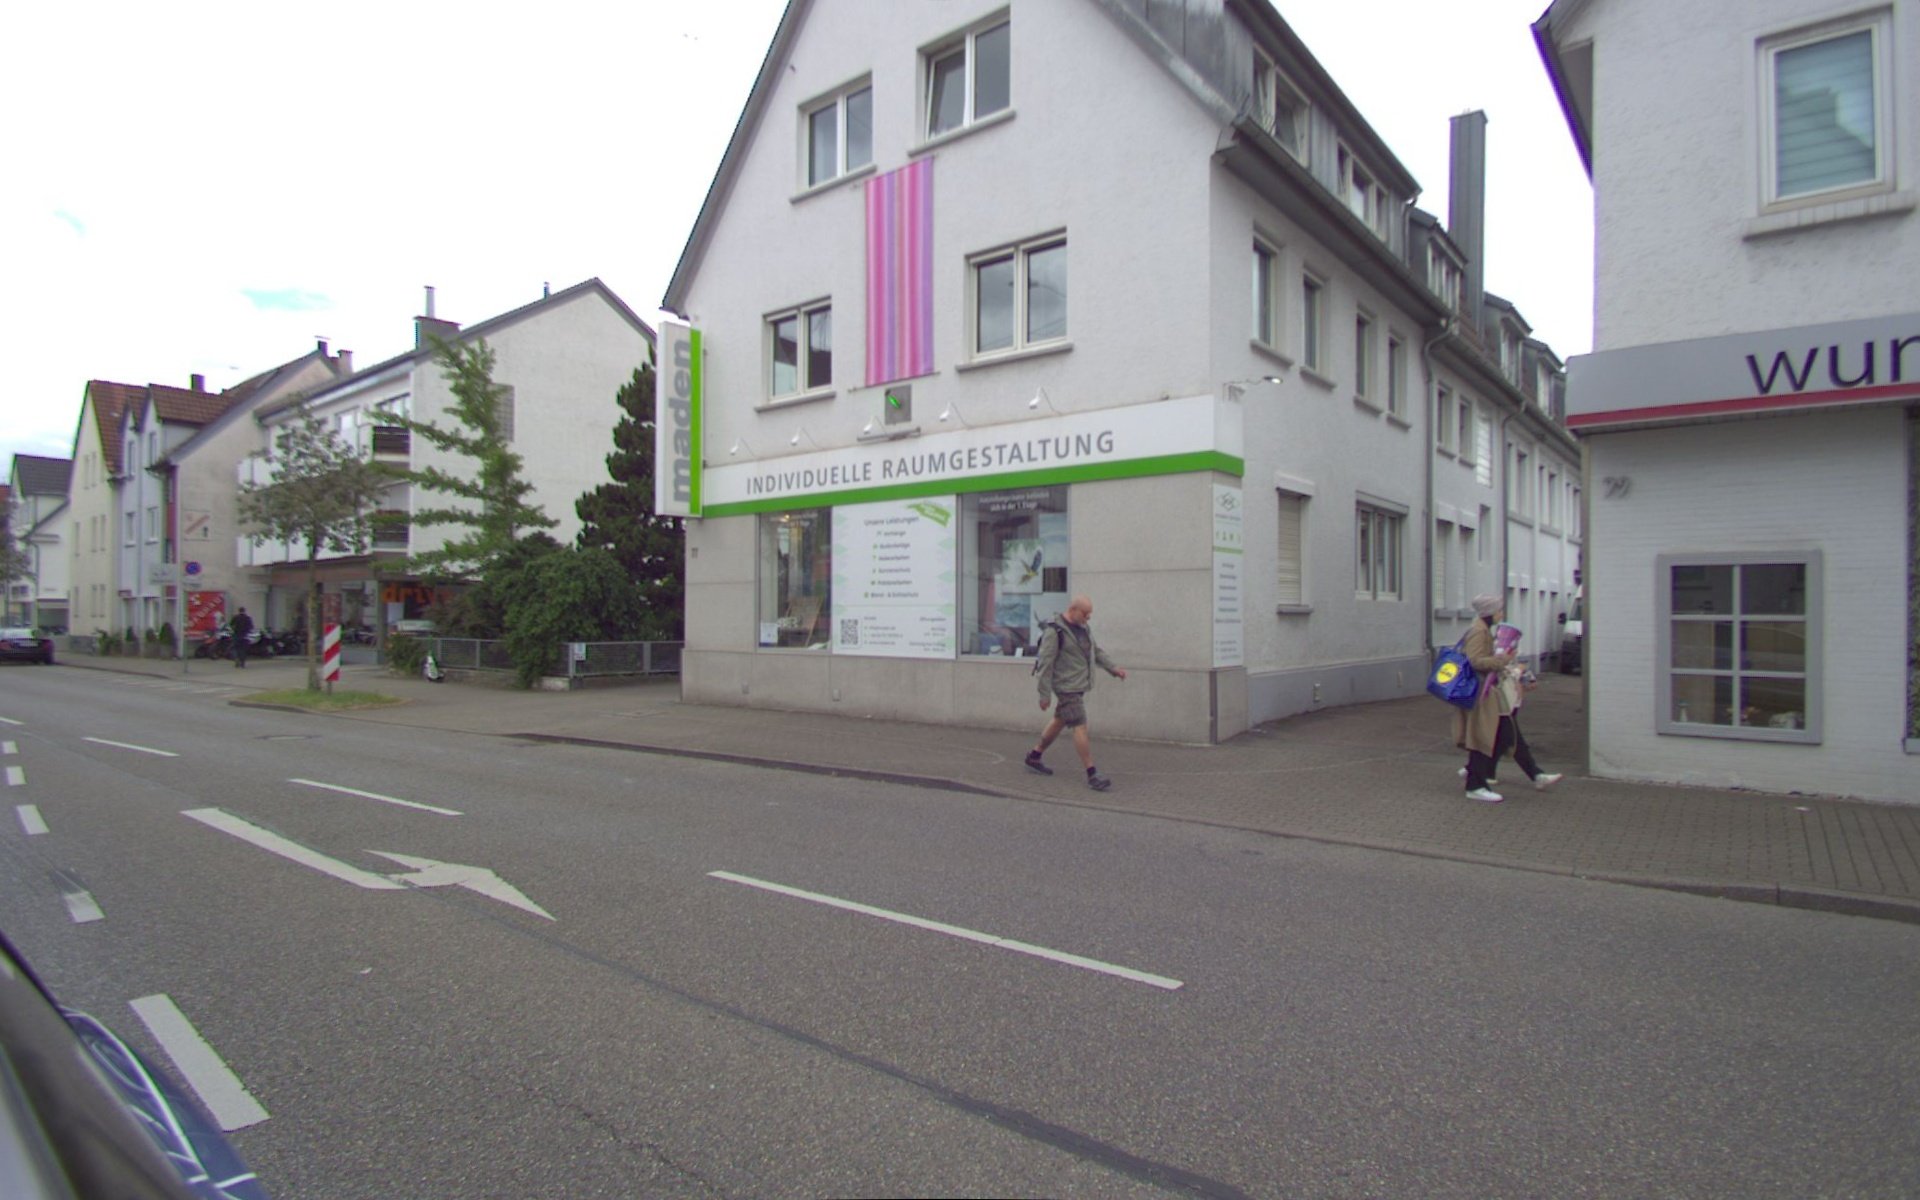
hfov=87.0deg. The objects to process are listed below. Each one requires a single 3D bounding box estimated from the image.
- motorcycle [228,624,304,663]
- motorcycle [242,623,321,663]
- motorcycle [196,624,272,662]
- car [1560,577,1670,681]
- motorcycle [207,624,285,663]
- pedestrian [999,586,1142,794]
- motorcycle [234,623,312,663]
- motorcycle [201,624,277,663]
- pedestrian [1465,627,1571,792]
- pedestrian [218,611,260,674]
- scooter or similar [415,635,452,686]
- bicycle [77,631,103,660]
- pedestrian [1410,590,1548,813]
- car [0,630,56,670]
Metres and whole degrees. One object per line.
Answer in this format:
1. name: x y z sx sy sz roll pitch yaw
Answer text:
1. motorcycle: -25.378 1.580 37.046 0.612 1.275 2.204 -1 1 38
2. motorcycle: -24.075 1.512 35.936 0.612 1.275 2.204 -1 1 38
3. motorcycle: -27.426 1.619 38.261 0.612 1.275 2.204 -1 1 38
4. car: 18.171 0.698 27.915 1.957 2.527 5.918 2 1 38
5. motorcycle: -26.237 1.594 37.203 0.698 1.275 2.204 -1 1 38
6. pedestrian: 1.006 0.770 9.241 1.019 1.756 0.744 -1 1 40
7. motorcycle: -24.756 1.525 36.505 0.612 1.275 2.204 -1 1 38
8. motorcycle: -26.893 1.607 37.782 0.612 1.275 2.204 -1 1 38
9. pedestrian: 4.687 0.883 8.505 0.654 1.289 0.593 -1 0 40
10. pedestrian: -22.225 1.285 31.180 1.019 1.863 0.744 -1 2 40
11. scooter or similar: -11.987 1.362 23.043 1.179 1.120 0.336 -1 -1 41
12. bicycle: -37.651 1.940 43.815 2.022 1.205 0.509 -1 -1 39
13. pedestrian: 4.124 0.754 8.034 0.792 1.629 0.744 -1 2 40
14. car: -36.164 1.872 38.674 4.337 1.428 1.770 -1 -2 39
